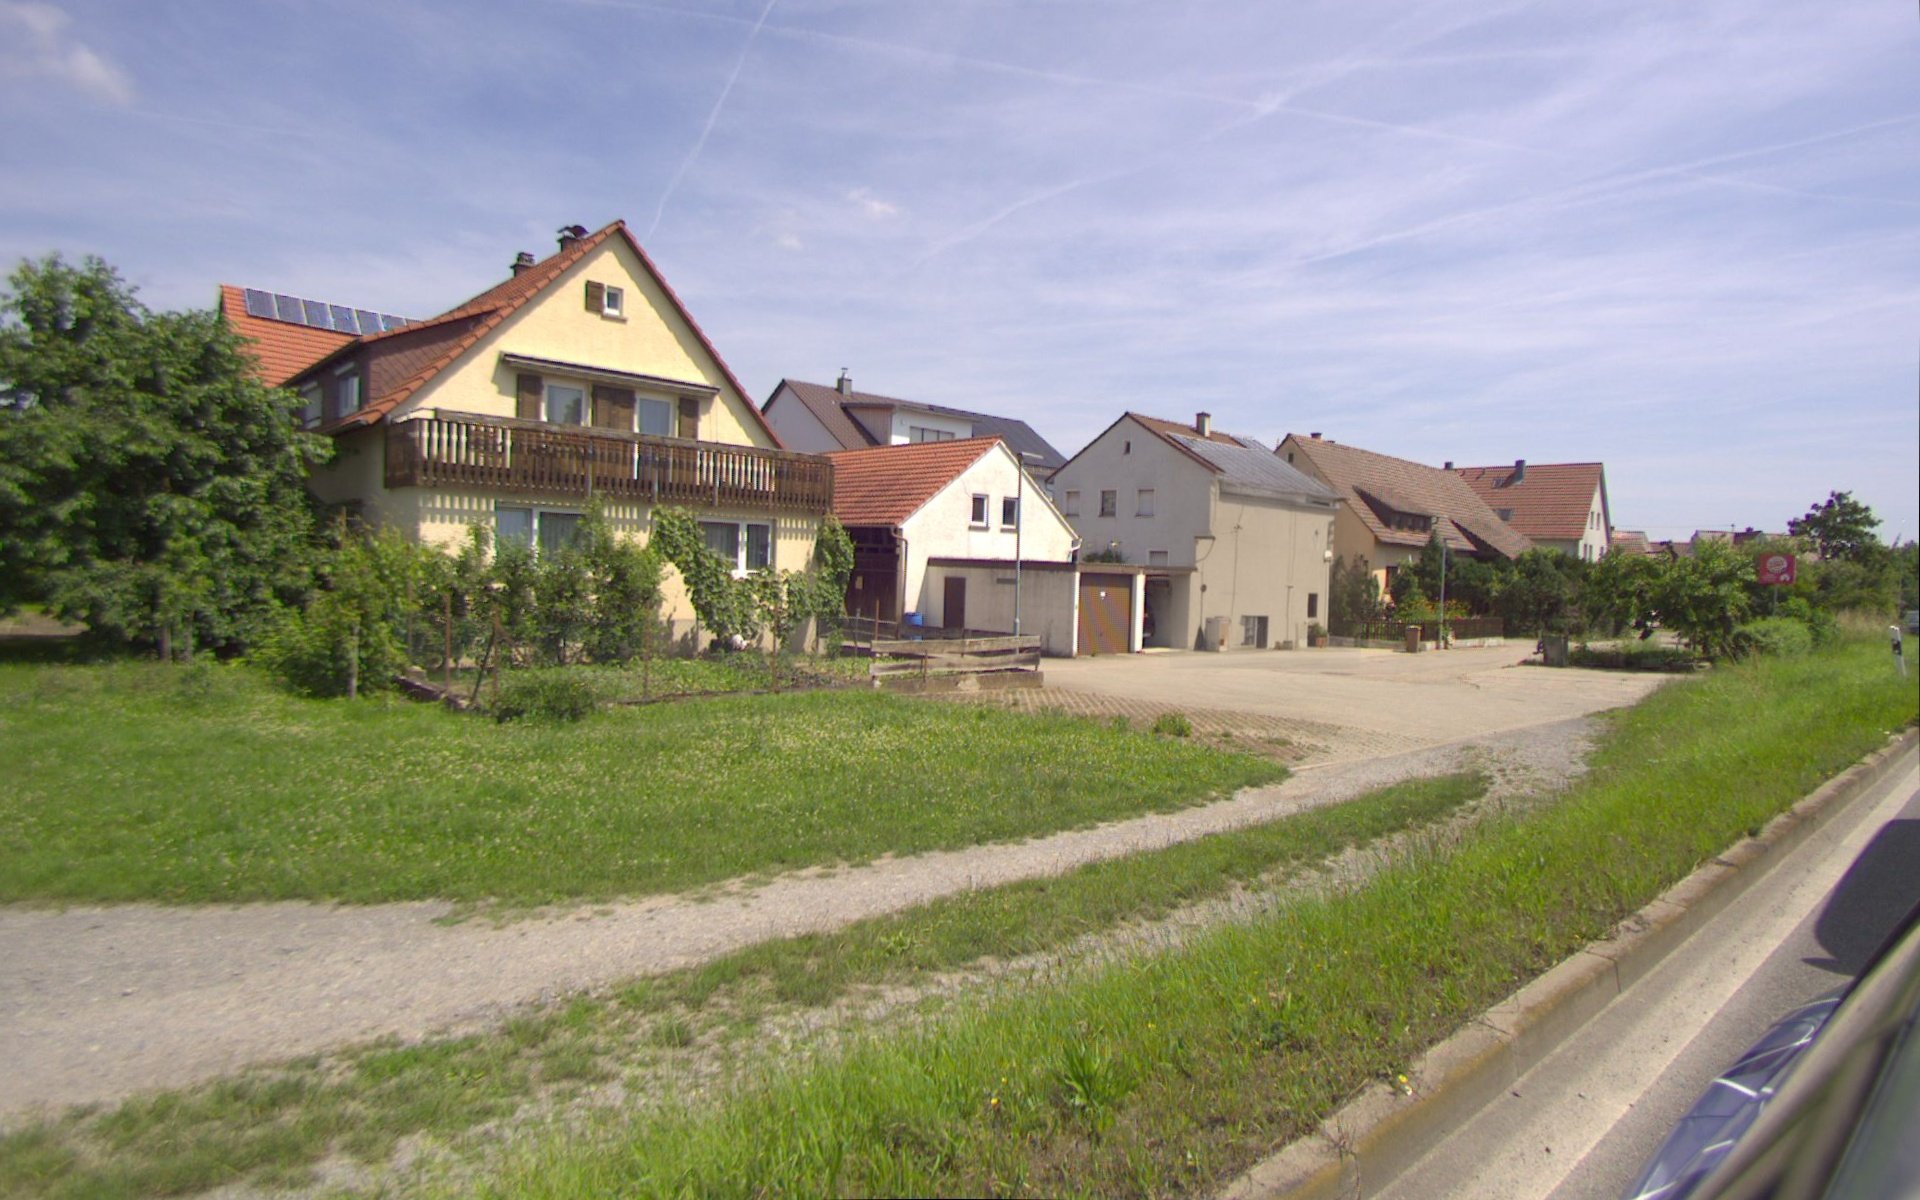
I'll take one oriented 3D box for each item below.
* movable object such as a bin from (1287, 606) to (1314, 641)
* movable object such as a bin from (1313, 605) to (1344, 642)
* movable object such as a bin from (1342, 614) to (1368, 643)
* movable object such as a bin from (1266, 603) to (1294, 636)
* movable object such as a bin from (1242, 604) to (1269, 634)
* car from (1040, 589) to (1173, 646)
[{"bbox_3d":[13.291,0.899,39.511,0.806,1.355,0.677,1,0,-42],"label":"movable object such as a bin"},{"bbox_3d":[13.946,0.874,38.298,0.930,1.387,0.764,1,0,-42],"label":"movable object such as a bin"},{"bbox_3d":[14.663,1.053,37.597,0.743,1.040,0.645,1,0,-42],"label":"movable object such as a bin"},{"bbox_3d":[12.717,0.770,40.229,0.874,1.262,0.744,1,0,-42],"label":"movable object such as a bin"},{"bbox_3d":[11.882,0.761,40.727,0.816,1.171,0.739,1,0,-42],"label":"movable object such as a bin"},{"bbox_3d":[4.591,0.501,32.173,1.794,1.624,3.995,1,1,-40],"label":"car"}]
